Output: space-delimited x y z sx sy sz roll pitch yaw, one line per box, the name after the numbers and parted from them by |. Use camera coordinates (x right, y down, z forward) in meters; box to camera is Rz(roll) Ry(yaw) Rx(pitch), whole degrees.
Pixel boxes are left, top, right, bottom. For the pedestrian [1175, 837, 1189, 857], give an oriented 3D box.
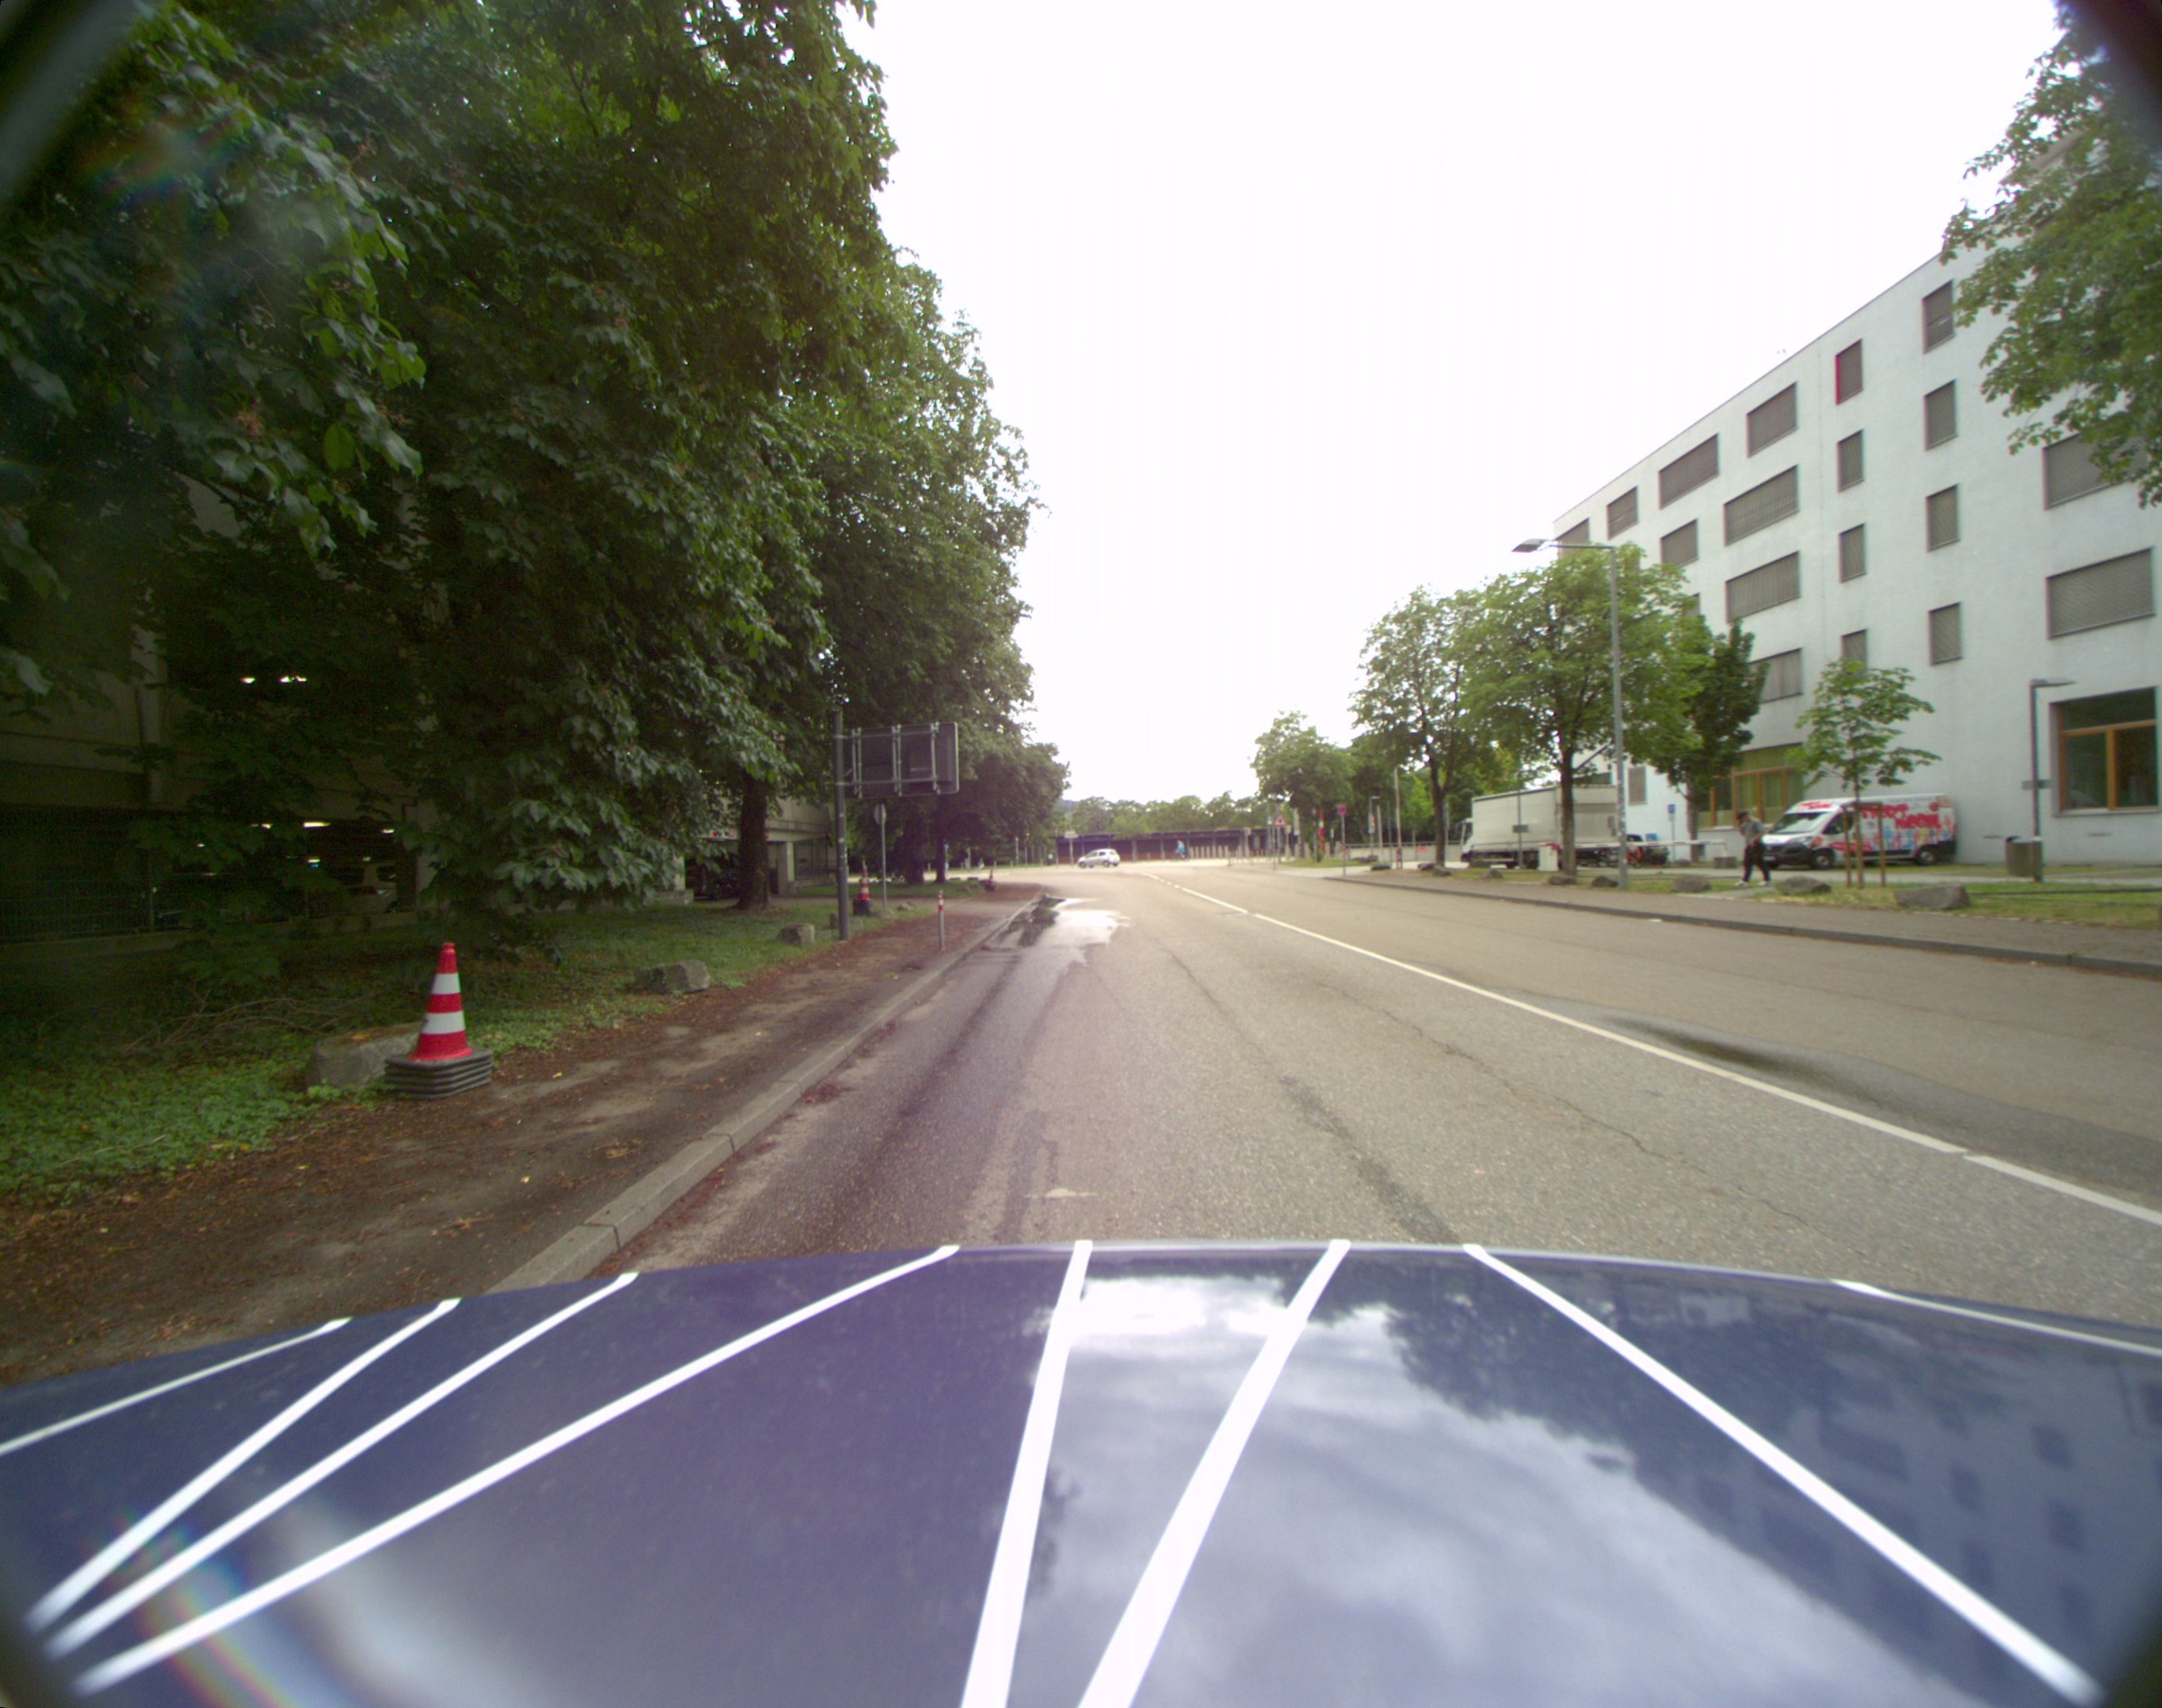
9.636 -0.665 72.523 1.200 1.824 0.927 -3 3 4 | pedestrian

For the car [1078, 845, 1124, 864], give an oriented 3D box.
1.670 0.053 64.501 3.494 1.448 1.609 -2 2 31 | car

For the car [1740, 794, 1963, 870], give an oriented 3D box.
26.596 -0.758 26.370 5.640 2.266 2.078 -3 2 0 | car

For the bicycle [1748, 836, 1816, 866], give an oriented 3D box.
27.437 -0.114 29.749 2.029 1.064 0.614 -3 2 4 | bicycle

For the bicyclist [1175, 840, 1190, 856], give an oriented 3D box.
9.138 -0.558 68.720 1.159 1.422 0.742 -3 2 -3 | bicyclist

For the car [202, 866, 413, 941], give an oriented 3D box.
-20.267 1.233 20.172 1.721 1.577 3.690 -3 1 -1 | car

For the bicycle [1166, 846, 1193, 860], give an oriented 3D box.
8.919 -0.085 68.721 2.257 1.117 0.748 -3 2 -3 | bicycle

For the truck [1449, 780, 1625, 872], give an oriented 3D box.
20.409 -1.214 34.796 2.684 3.580 8.361 -3 1 -2 | truck

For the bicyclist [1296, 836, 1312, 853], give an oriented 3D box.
20.762 -0.878 70.750 1.101 1.487 0.926 -3 3 -9 | bicyclist

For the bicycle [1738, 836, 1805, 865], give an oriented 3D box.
27.617 -0.139 30.397 2.029 1.064 0.614 -3 2 4 | bicycle

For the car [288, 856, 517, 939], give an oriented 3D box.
-17.253 0.997 19.712 1.589 1.699 4.666 -3 1 1 | car

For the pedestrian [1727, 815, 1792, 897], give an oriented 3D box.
14.210 0.030 15.934 0.844 1.662 0.788 -2 2 29 | pedestrian

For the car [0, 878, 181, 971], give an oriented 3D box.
-20.375 1.364 14.570 1.721 1.537 3.700 -3 1 -1 | car

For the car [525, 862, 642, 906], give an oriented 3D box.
-20.011 1.173 30.789 1.876 1.445 4.000 -3 1 4 | car

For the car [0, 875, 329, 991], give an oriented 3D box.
-17.477 1.405 14.827 1.589 1.699 3.856 -3 1 1 | car

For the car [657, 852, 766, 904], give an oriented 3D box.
-14.617 0.875 30.414 1.924 1.824 4.735 -3 0 0 | car

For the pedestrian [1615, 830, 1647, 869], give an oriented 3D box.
23.486 -0.203 32.457 0.679 1.597 0.887 -3 2 -7 | pedestrian

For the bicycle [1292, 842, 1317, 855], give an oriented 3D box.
20.778 -0.524 70.763 2.051 1.137 0.777 -3 3 -10 | bicycle
